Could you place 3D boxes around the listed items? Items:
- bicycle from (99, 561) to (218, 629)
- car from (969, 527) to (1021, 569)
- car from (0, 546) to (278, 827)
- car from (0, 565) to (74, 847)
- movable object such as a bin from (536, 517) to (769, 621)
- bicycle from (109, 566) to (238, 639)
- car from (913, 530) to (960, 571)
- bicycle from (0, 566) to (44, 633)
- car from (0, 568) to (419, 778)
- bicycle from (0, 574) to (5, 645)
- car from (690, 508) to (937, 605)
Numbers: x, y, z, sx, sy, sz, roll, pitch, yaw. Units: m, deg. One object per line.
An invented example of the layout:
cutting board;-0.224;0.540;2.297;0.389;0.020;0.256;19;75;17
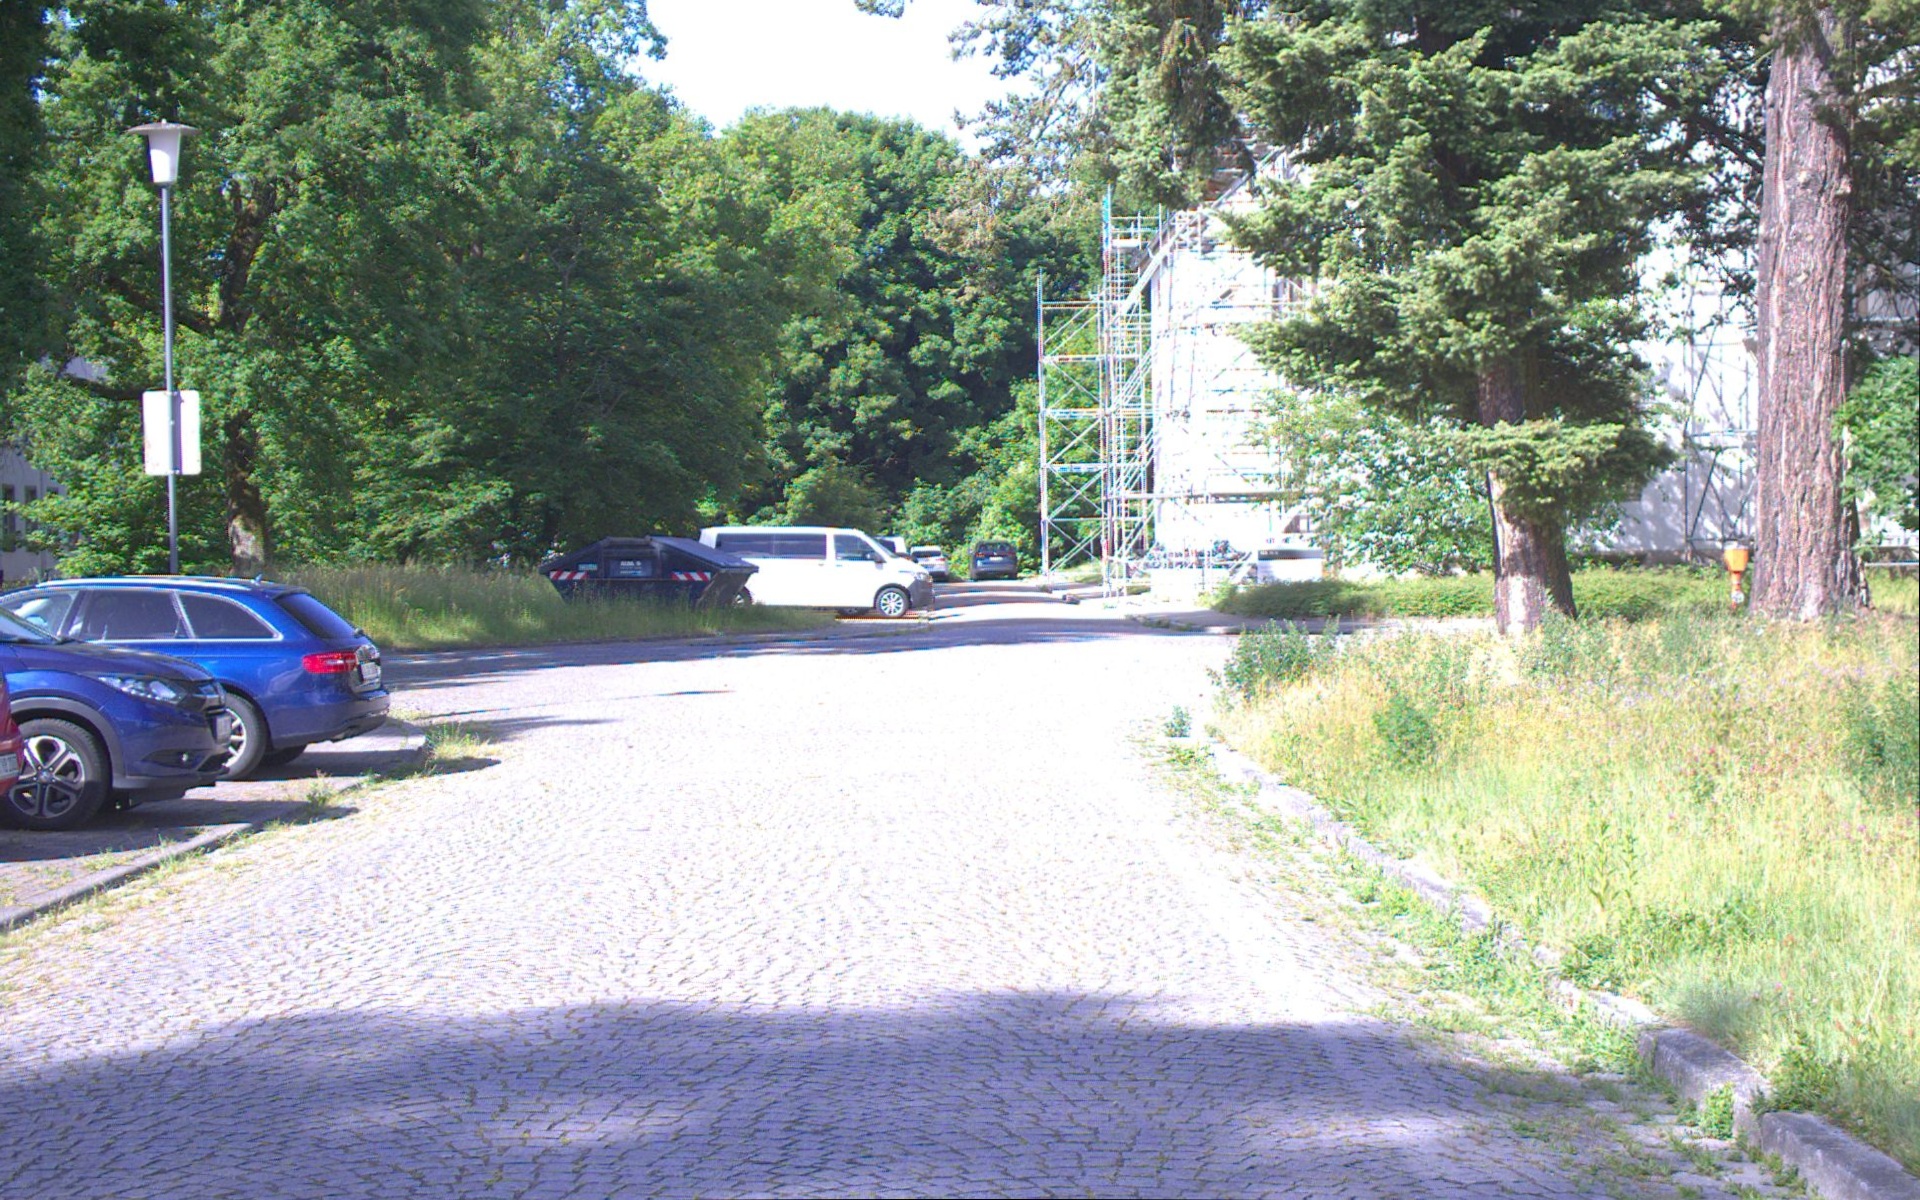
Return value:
bicycle;-13.904;-0.090;59.658;1.912;1.054;0.476;-4;2;-21
car;1.419;-2.135;140.487;1.971;1.662;4.086;-1;1;-1
car;-6.348;0.490;20.607;4.135;1.574;1.884;0;2;0
car;-6.906;0.558;18.210;3.923;1.428;1.842;0;2;1
movable object such as a bin;-5.449;-0.558;61.068;3.568;1.738;2.023;-1;1;18
bicycle;-12.637;0.036;55.266;1.913;1.054;0.476;-4;2;-23
car;-0.981;-2.023;140.182;1.812;1.574;4.135;-1;1;-1
bicycle;-16.597;0.000;58.464;1.912;1.099;0.570;-1;2;-19
car;-6.344;0.513;25.292;4.360;1.440;1.921;0;2;3
bicycle;-16.021;0.179;53.928;1.913;1.099;0.570;-2;3;-24
car;-3.132;-0.945;74.168;5.234;2.009;1.950;-1;1;-1
